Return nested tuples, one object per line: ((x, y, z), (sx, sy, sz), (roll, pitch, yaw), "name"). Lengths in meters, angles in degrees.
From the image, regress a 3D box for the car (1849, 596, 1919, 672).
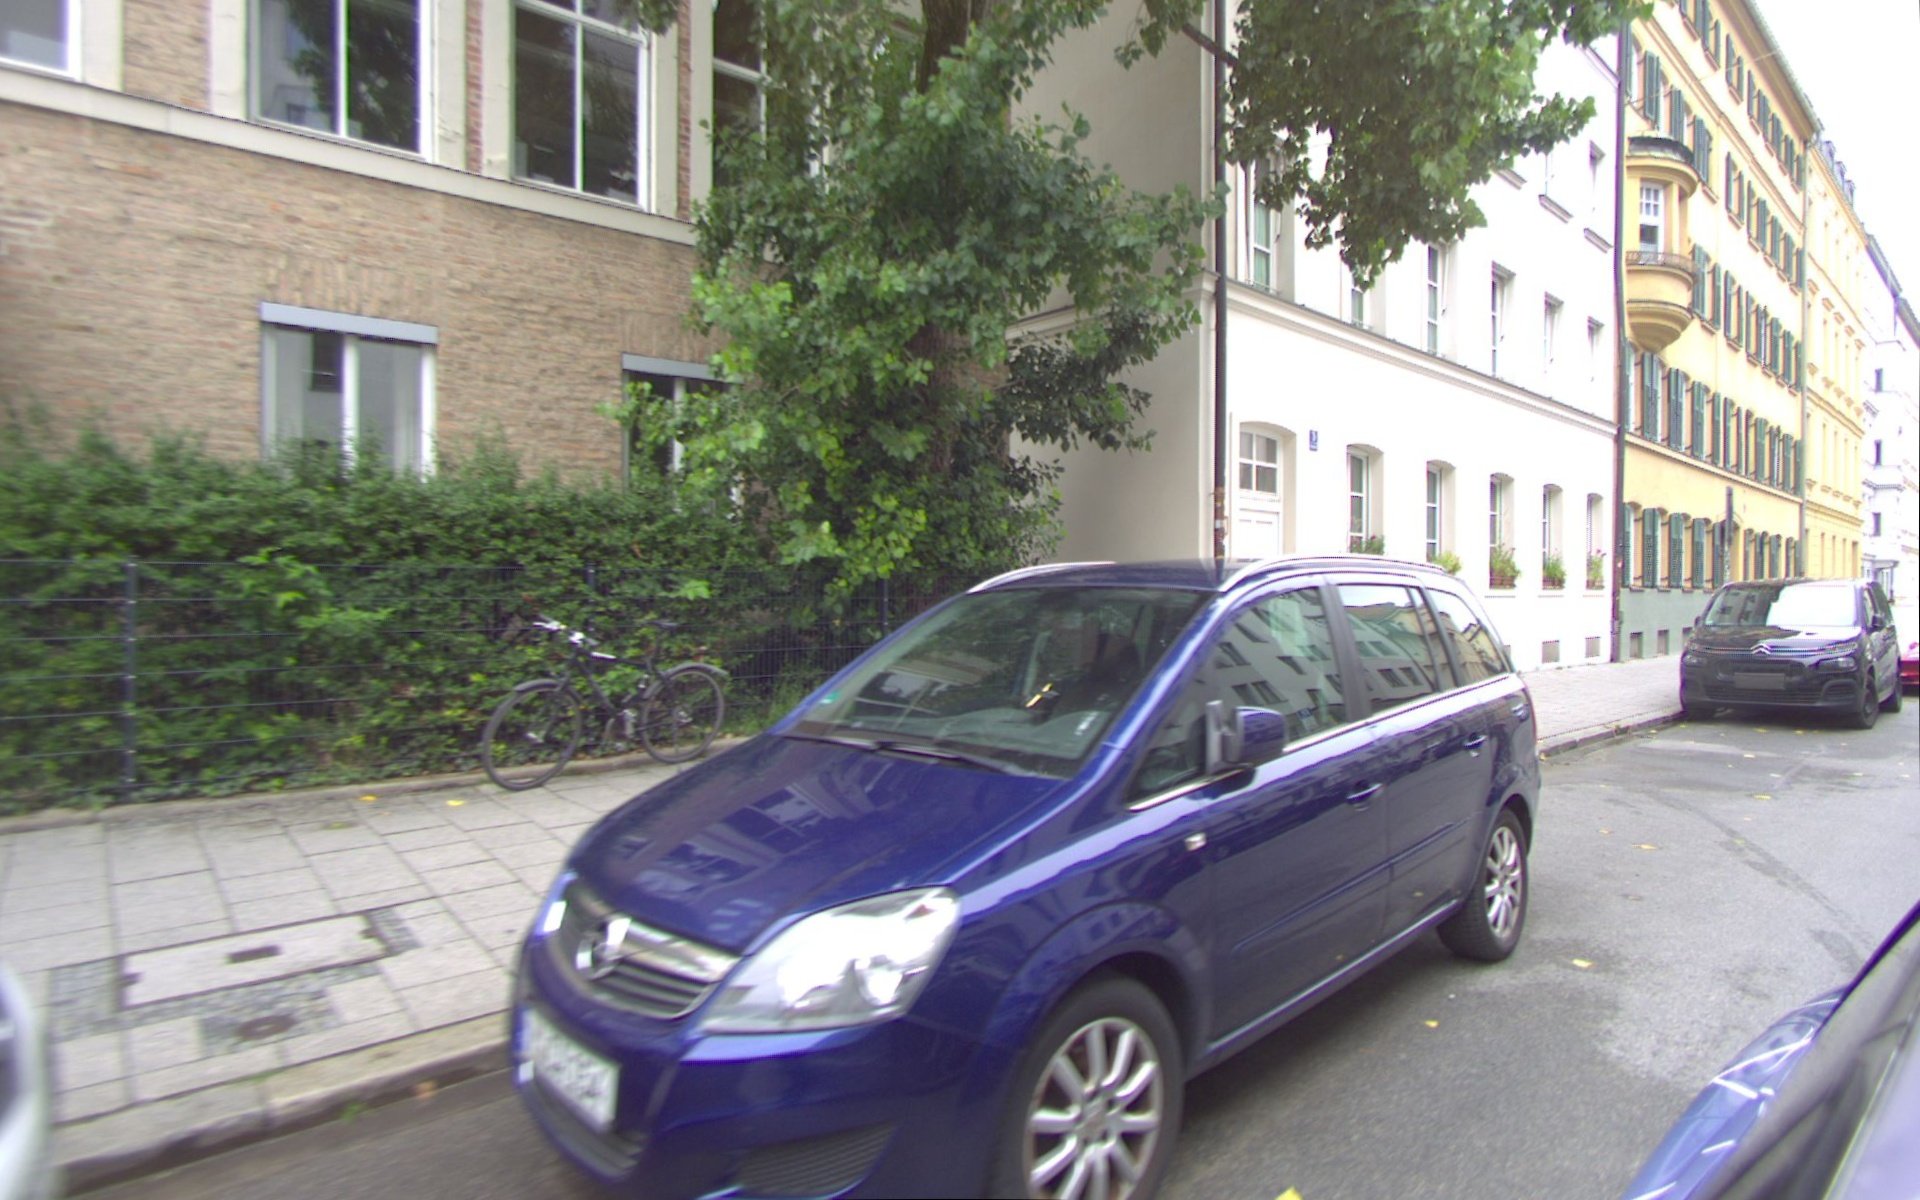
((20.362, 0.681, 21.511), (3.931, 1.482, 1.748), (0, 1, -42), "car")

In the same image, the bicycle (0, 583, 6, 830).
((-5.619, 0.526, 4.046), (2.579, 1.228, 0.722), (0, 0, -41), "bicycle")

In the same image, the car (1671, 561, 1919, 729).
((10.751, 0.478, 12.890), (4.129, 1.799, 1.849), (-1, -1, -42), "car")

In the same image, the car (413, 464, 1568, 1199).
((0.566, 0.583, 3.650), (4.146, 1.620, 1.809), (0, 1, -44), "car")

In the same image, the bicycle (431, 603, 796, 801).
((-2.200, 0.577, 6.678), (2.185, 1.087, 0.671), (0, 1, -42), "bicycle")

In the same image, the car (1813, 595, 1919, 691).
((15.989, 0.657, 17.252), (4.382, 1.441, 1.715), (0, 1, -43), "car")

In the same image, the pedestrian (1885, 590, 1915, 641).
((31.417, 0.511, 33.826), (0.881, 1.659, 0.597), (1, 3, -44), "pedestrian")
